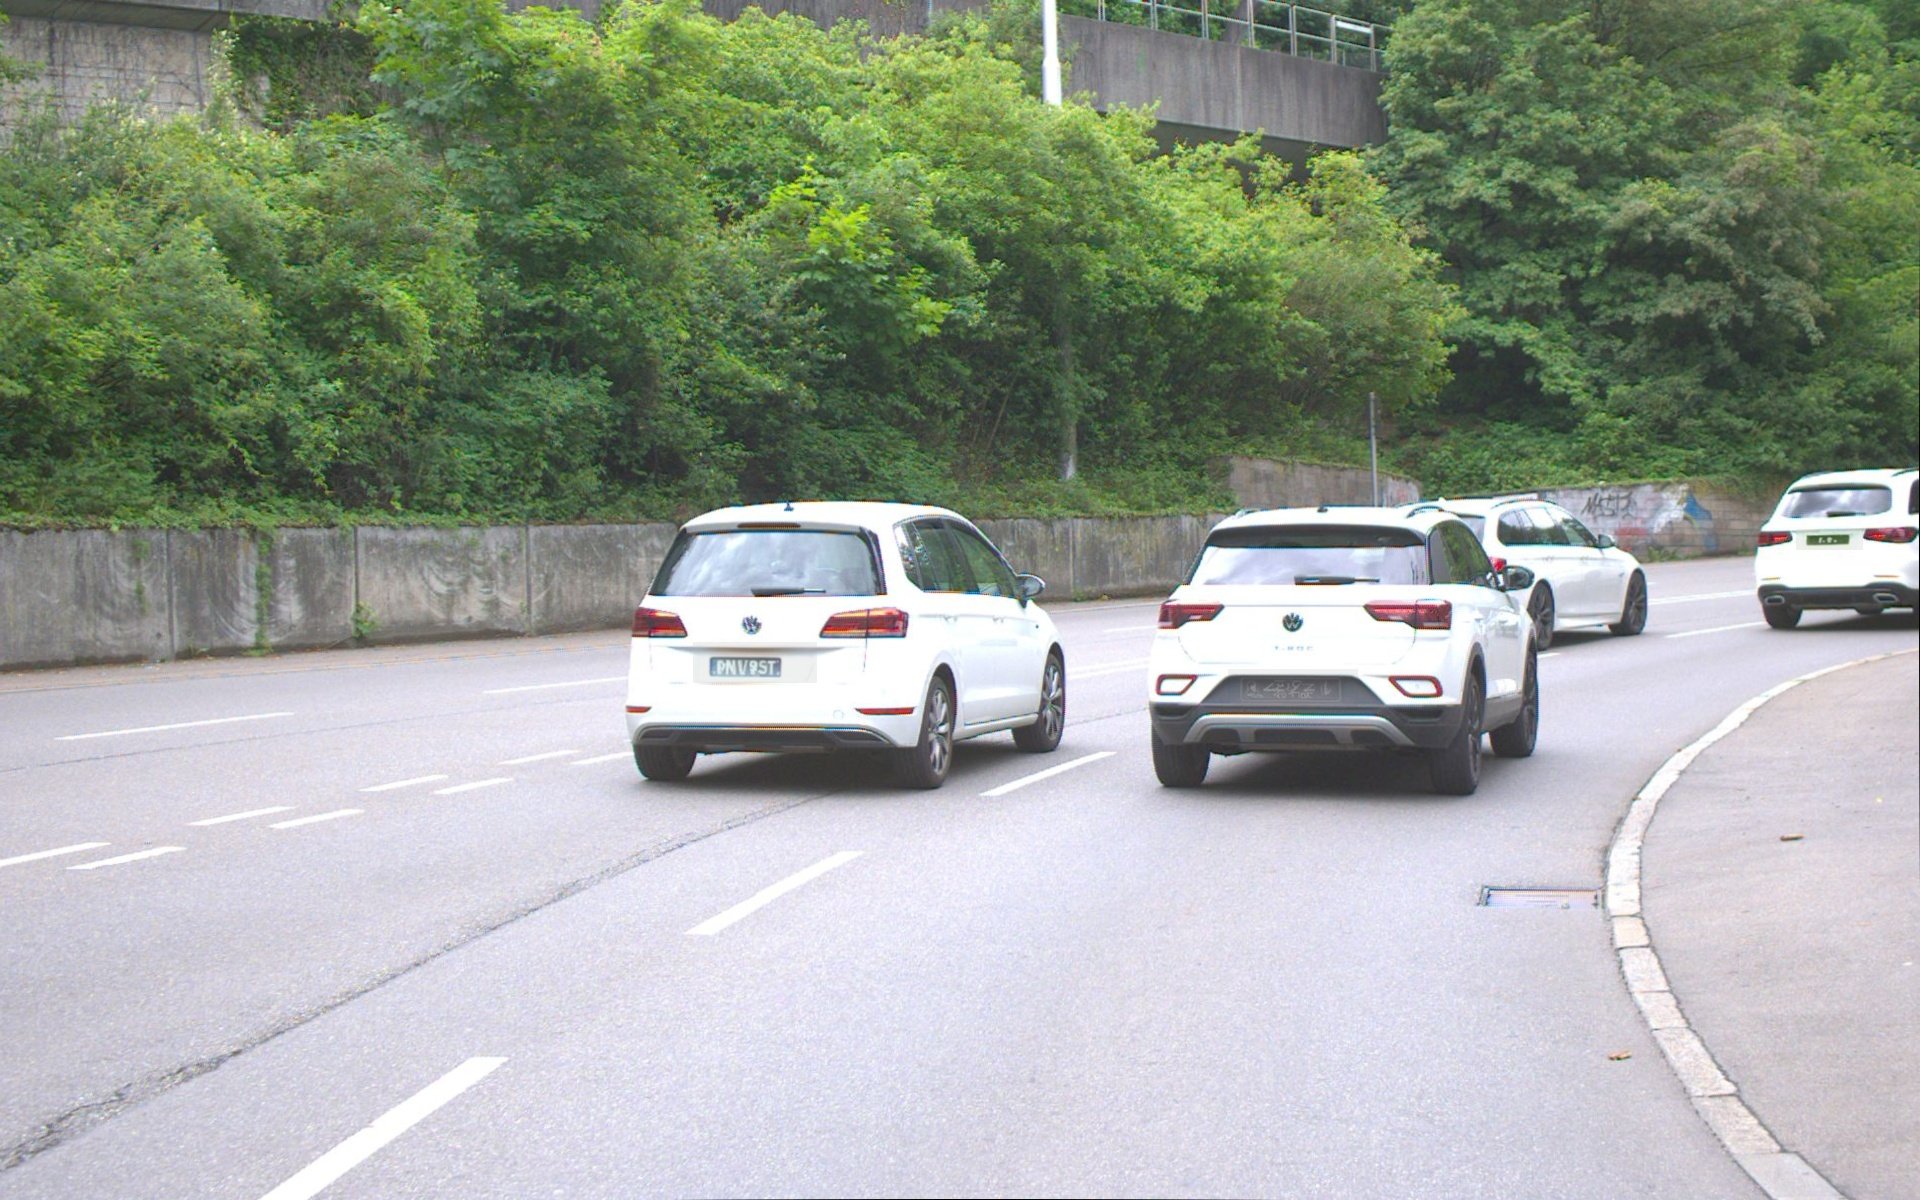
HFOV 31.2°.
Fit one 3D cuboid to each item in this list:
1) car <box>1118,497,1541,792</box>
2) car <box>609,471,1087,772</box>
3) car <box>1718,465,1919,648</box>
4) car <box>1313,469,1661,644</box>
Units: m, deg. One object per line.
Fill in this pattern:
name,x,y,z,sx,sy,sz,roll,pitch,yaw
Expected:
car,2.256,0.237,20.013,1.815,1.534,4.005,0,0,15
car,-0.534,0.159,20.384,1.721,1.549,4.272,2,-1,13
car,9.816,-0.447,36.745,1.997,1.837,4.142,1,0,33
car,5.361,-0.491,34.451,1.997,1.552,4.674,4,3,27
